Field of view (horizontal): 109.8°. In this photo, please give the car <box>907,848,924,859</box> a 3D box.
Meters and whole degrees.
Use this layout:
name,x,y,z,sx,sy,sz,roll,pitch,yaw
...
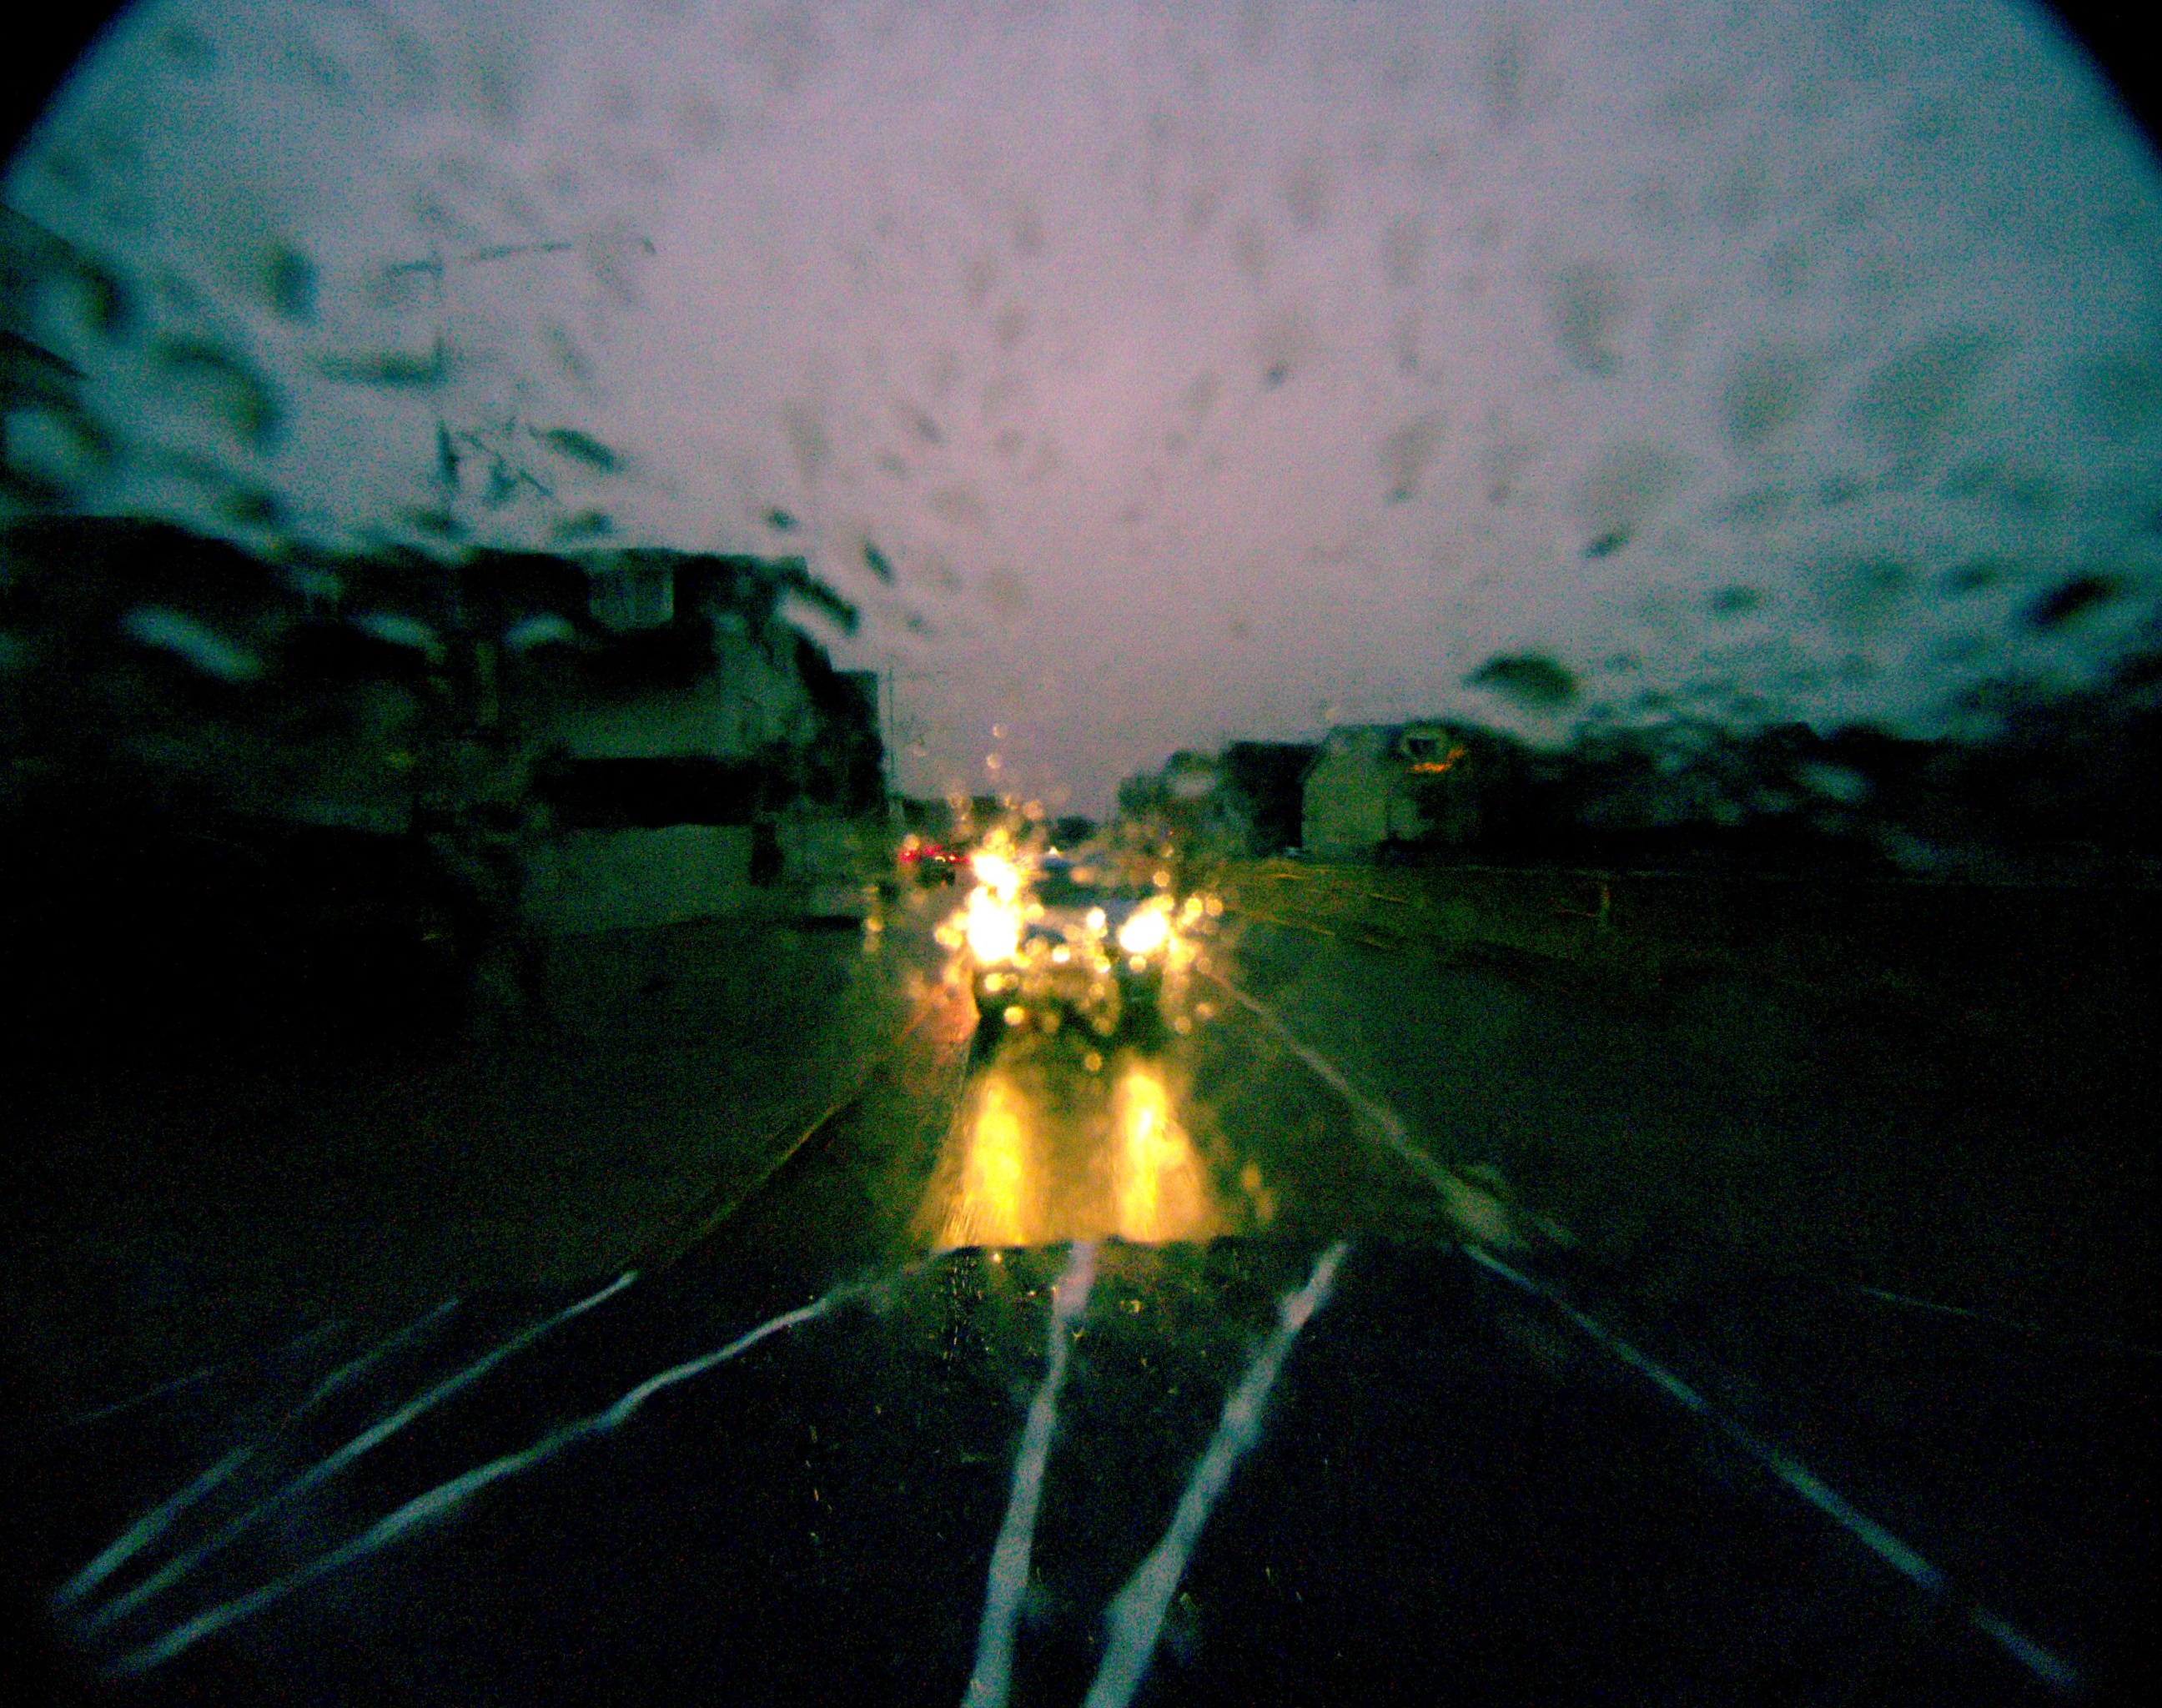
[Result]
name,x,y,z,sx,sy,sz,roll,pitch,yaw
car,-22.772,-0.016,104.592,1.756,1.409,3.747,0,-1,-22

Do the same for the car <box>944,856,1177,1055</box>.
name,x,y,z,sx,sy,sz,roll,pitch,yaw
car,-0.175,0.857,8.355,1.888,1.570,3.999,-2,0,0

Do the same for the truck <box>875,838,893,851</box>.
name,x,y,z,sx,sy,sz,roll,pitch,yaw
truck,-32.481,-1.574,125.282,2.148,2.001,4.527,0,-1,-23

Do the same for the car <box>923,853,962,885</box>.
name,x,y,z,sx,sy,sz,roll,pitch,yaw
car,-7.253,0.769,40.135,1.849,1.577,3.766,-1,0,-9

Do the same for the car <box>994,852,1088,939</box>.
name,x,y,z,sx,sy,sz,roll,pitch,yaw
car,-0.984,0.800,16.534,1.682,1.614,3.997,-2,0,-8

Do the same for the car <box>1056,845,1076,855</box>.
name,x,y,z,sx,sy,sz,roll,pitch,yaw
car,-2.204,-0.594,110.813,1.801,1.460,4.251,-1,1,-16

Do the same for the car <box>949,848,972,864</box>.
name,x,y,z,sx,sy,sz,roll,pitch,yaw
car,-11.914,0.204,74.994,1.673,1.513,3.994,0,-1,-18

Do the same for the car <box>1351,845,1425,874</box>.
name,x,y,z,sx,sy,sz,roll,pitch,yaw
car,16.975,0.267,42.255,1.800,1.460,4.252,-1,1,-11

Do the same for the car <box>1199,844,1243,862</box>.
name,x,y,z,sx,sy,sz,roll,pitch,yaw
car,11.764,-0.090,64.173,1.801,1.460,4.609,-1,1,-16

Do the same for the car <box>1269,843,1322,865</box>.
name,x,y,z,sx,sy,sz,roll,pitch,yaw
car,14.788,-0.012,52.596,1.677,1.460,4.012,1,0,-16

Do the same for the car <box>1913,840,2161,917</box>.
name,x,y,z,sx,sy,sz,roll,pitch,yaw
car,21.099,0.466,16.744,1.479,1.500,3.500,-1,1,-8

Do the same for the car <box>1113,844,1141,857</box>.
name,x,y,z,sx,sy,sz,roll,pitch,yaw
car,5.161,-0.408,86.127,1.801,1.460,4.251,-1,1,-16

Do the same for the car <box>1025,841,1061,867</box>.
name,x,y,z,sx,sy,sz,roll,pitch,yaw
car,-3.193,-0.033,62.925,2.001,2.002,3.994,-2,1,-17

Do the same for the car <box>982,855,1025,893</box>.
name,x,y,z,sx,sy,sz,roll,pitch,yaw
car,-3.429,0.827,33.233,1.573,1.460,3.613,-3,1,-9

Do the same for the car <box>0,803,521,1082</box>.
name,x,y,z,sx,sy,sz,roll,pitch,yaw
car,-7.250,0.591,5.945,4.152,1.625,1.753,6,0,-9

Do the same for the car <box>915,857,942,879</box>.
name,x,y,z,sx,sy,sz,roll,pitch,yaw
car,-9.329,0.834,46.500,1.498,1.283,3.288,-1,0,-11

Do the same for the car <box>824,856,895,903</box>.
name,x,y,z,sx,sy,sz,roll,pitch,yaw
car,-7.604,0.843,26.364,1.777,1.488,3.775,1,0,-7

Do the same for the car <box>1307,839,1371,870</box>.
name,x,y,z,sx,sy,sz,roll,pitch,yaw
car,15.932,0.009,47.156,1.800,1.816,4.252,-1,1,-12

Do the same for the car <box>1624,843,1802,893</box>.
name,x,y,z,sx,sy,sz,roll,pitch,yaw
car,20.262,0.390,24.629,1.800,1.460,4.252,-1,1,-11

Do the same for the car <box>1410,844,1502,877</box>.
name,x,y,z,sx,sy,sz,roll,pitch,yaw
car,18.114,0.287,36.907,1.800,1.460,4.252,-1,1,-11

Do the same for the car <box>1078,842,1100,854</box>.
name,x,y,z,sx,sy,sz,roll,pitch,yaw
car,1.080,-0.795,100.383,1.801,1.460,4.251,-1,1,-16
